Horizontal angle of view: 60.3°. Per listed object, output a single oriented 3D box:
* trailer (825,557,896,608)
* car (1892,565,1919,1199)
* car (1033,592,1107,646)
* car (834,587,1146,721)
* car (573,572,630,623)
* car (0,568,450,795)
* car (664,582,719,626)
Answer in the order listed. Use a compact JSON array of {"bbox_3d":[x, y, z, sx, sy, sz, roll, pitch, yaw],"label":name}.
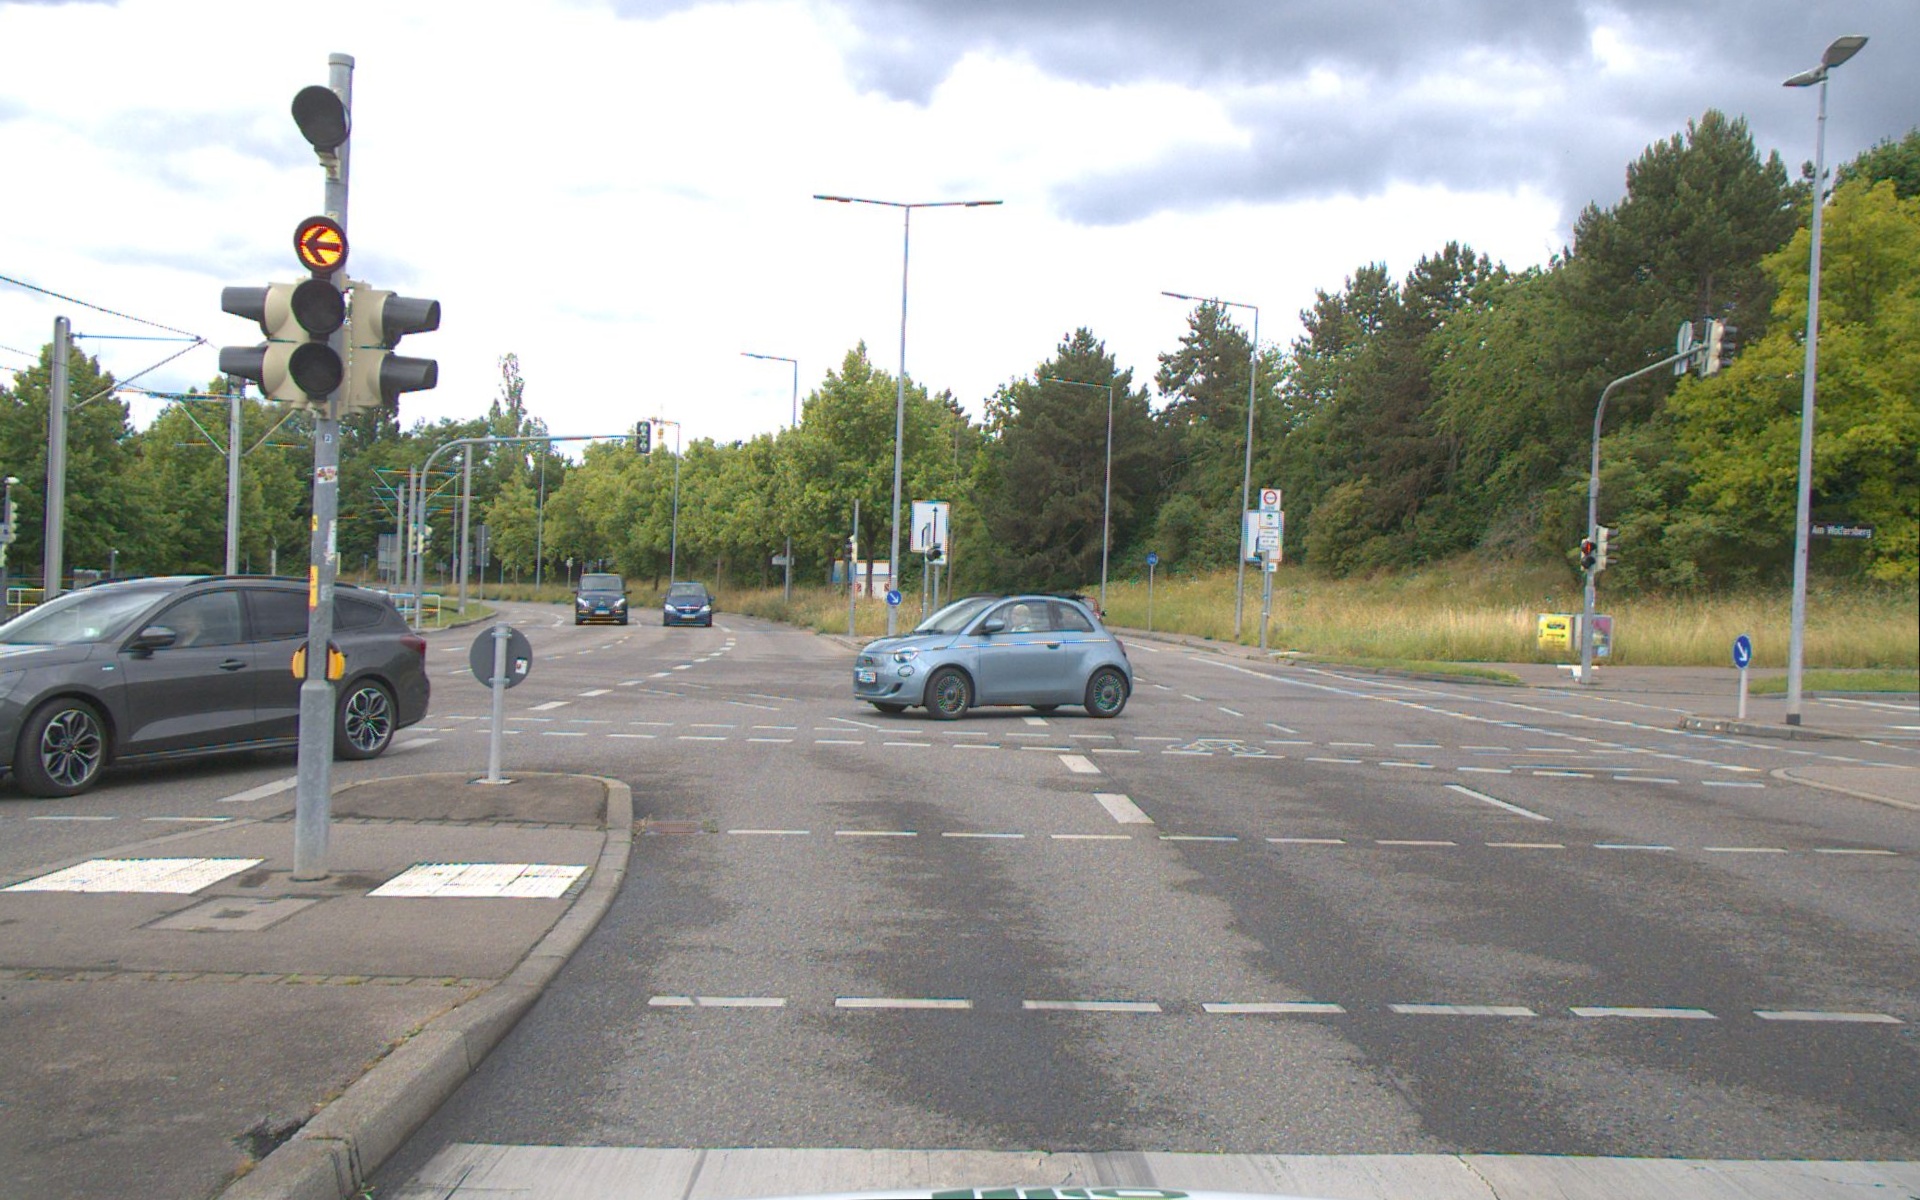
[{"bbox_3d":[-6.297,-1.095,104.148,2.708,3.065,6.047,1,0,-22],"label":"trailer"},{"bbox_3d":[2.754,0.705,2.123,1.559,1.543,2.766,1,0,0],"label":"car"},{"bbox_3d":[3.468,0.587,52.850,1.749,1.631,3.883,1,0,-5],"label":"car"},{"bbox_3d":[0.391,0.650,20.827,3.551,1.555,1.744,1,0,-30],"label":"car"},{"bbox_3d":[-13.358,-0.099,61.914,1.853,1.844,5.080,0,0,-10],"label":"car"},{"bbox_3d":[-6.159,0.531,12.509,1.834,1.449,4.427,1,0,27],"label":"car"},{"bbox_3d":[-9.790,0.160,60.571,1.702,1.535,3.656,1,0,-5],"label":"car"}]
